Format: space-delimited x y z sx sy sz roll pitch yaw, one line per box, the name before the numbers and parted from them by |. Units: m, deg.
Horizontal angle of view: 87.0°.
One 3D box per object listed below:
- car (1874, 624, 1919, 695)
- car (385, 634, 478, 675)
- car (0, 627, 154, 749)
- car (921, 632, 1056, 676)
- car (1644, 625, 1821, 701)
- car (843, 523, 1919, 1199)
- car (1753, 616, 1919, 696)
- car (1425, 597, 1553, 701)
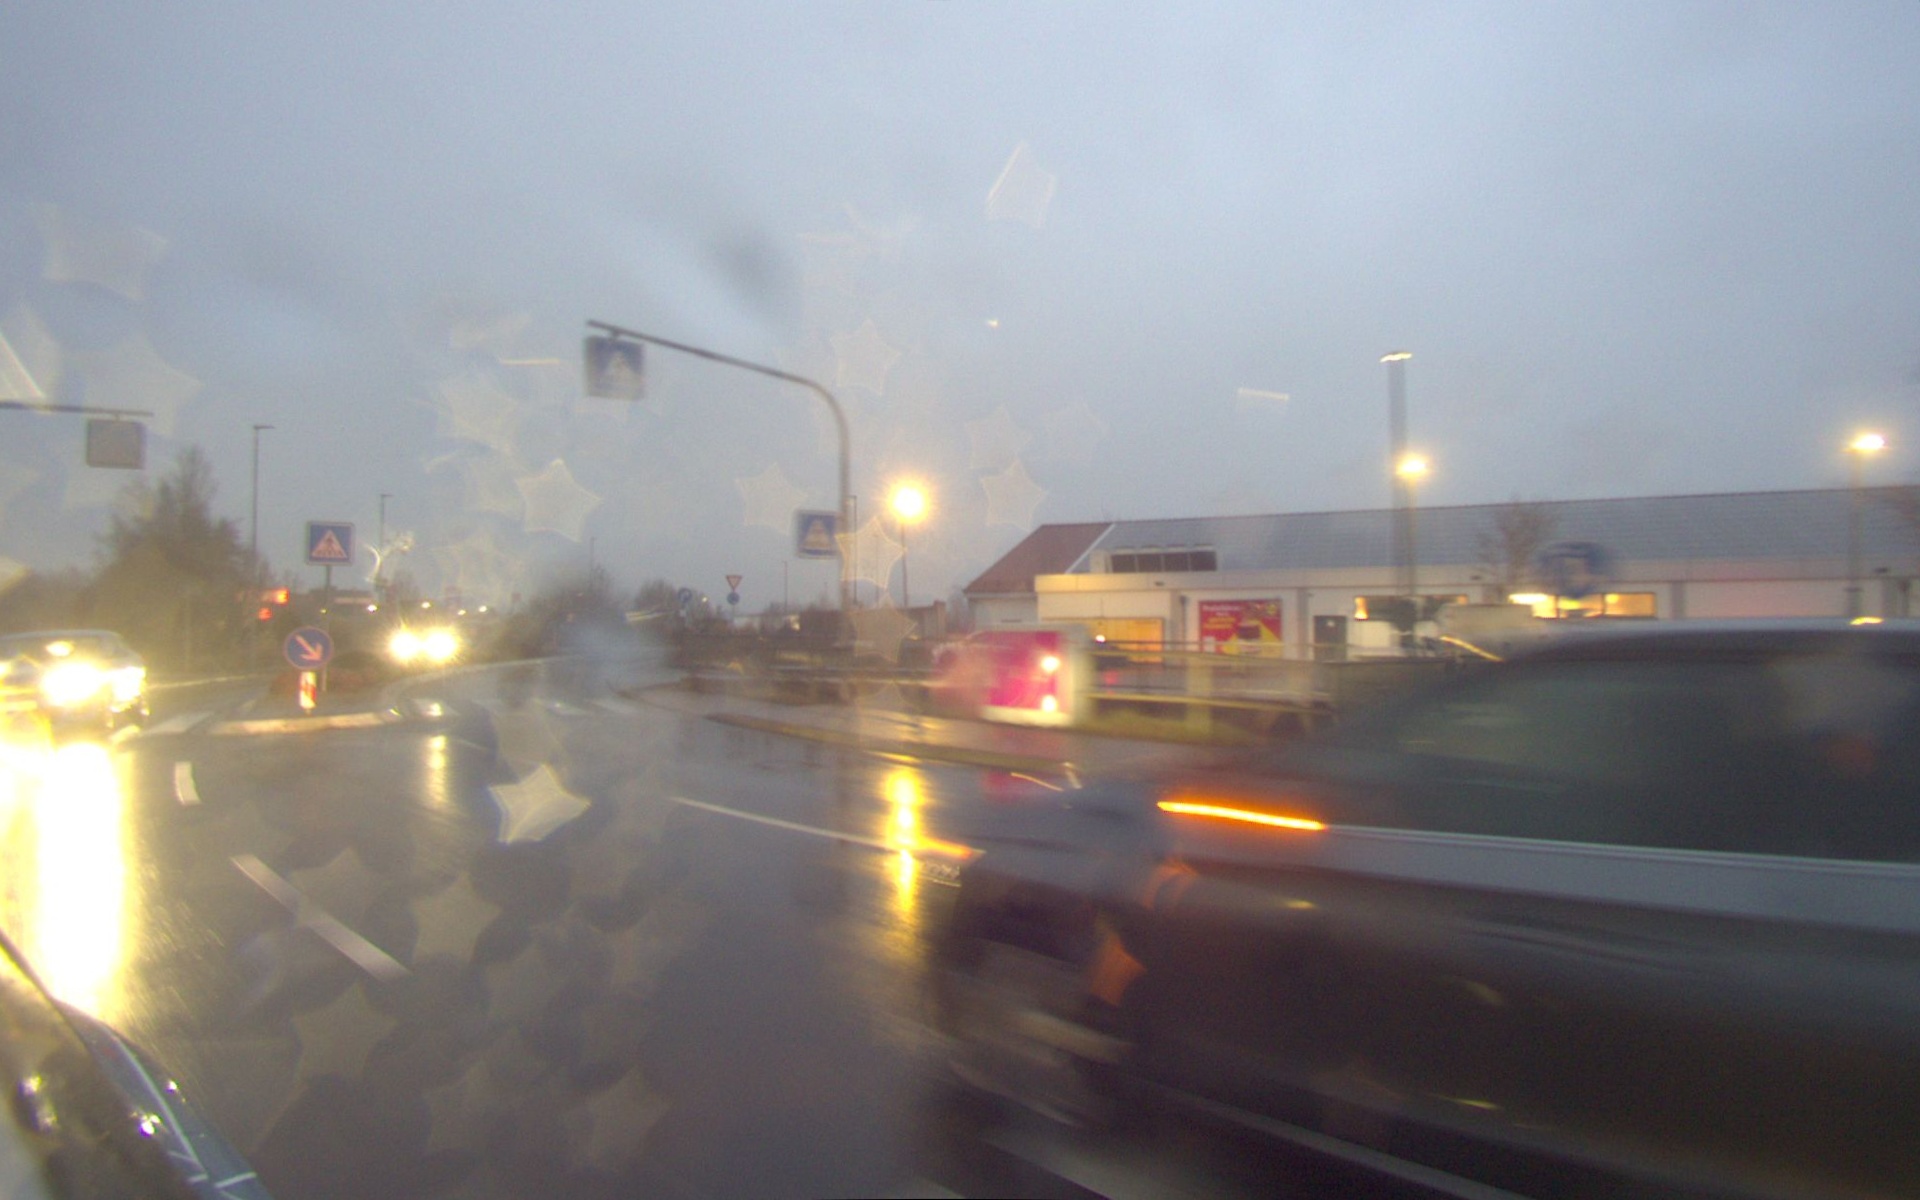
car | 22.093 1.270 21.791 2.041 1.575 4.412 -2 -4 22
car | -20.804 2.112 40.001 1.969 1.484 4.005 -1 -2 -7
car | -14.064 1.283 15.784 1.747 1.654 4.434 1 -3 -31
car | 1.040 1.986 37.722 4.759 1.548 1.674 -1 -2 26
car | 17.737 1.488 23.529 2.041 1.575 4.412 -2 -4 22
car | 1.648 0.657 2.548 3.999 1.497 1.645 -2 -2 42
car | 19.539 1.241 22.239 2.041 1.575 4.412 -2 -4 22
car | 13.001 1.275 25.224 2.203 2.300 5.164 -2 -4 22
